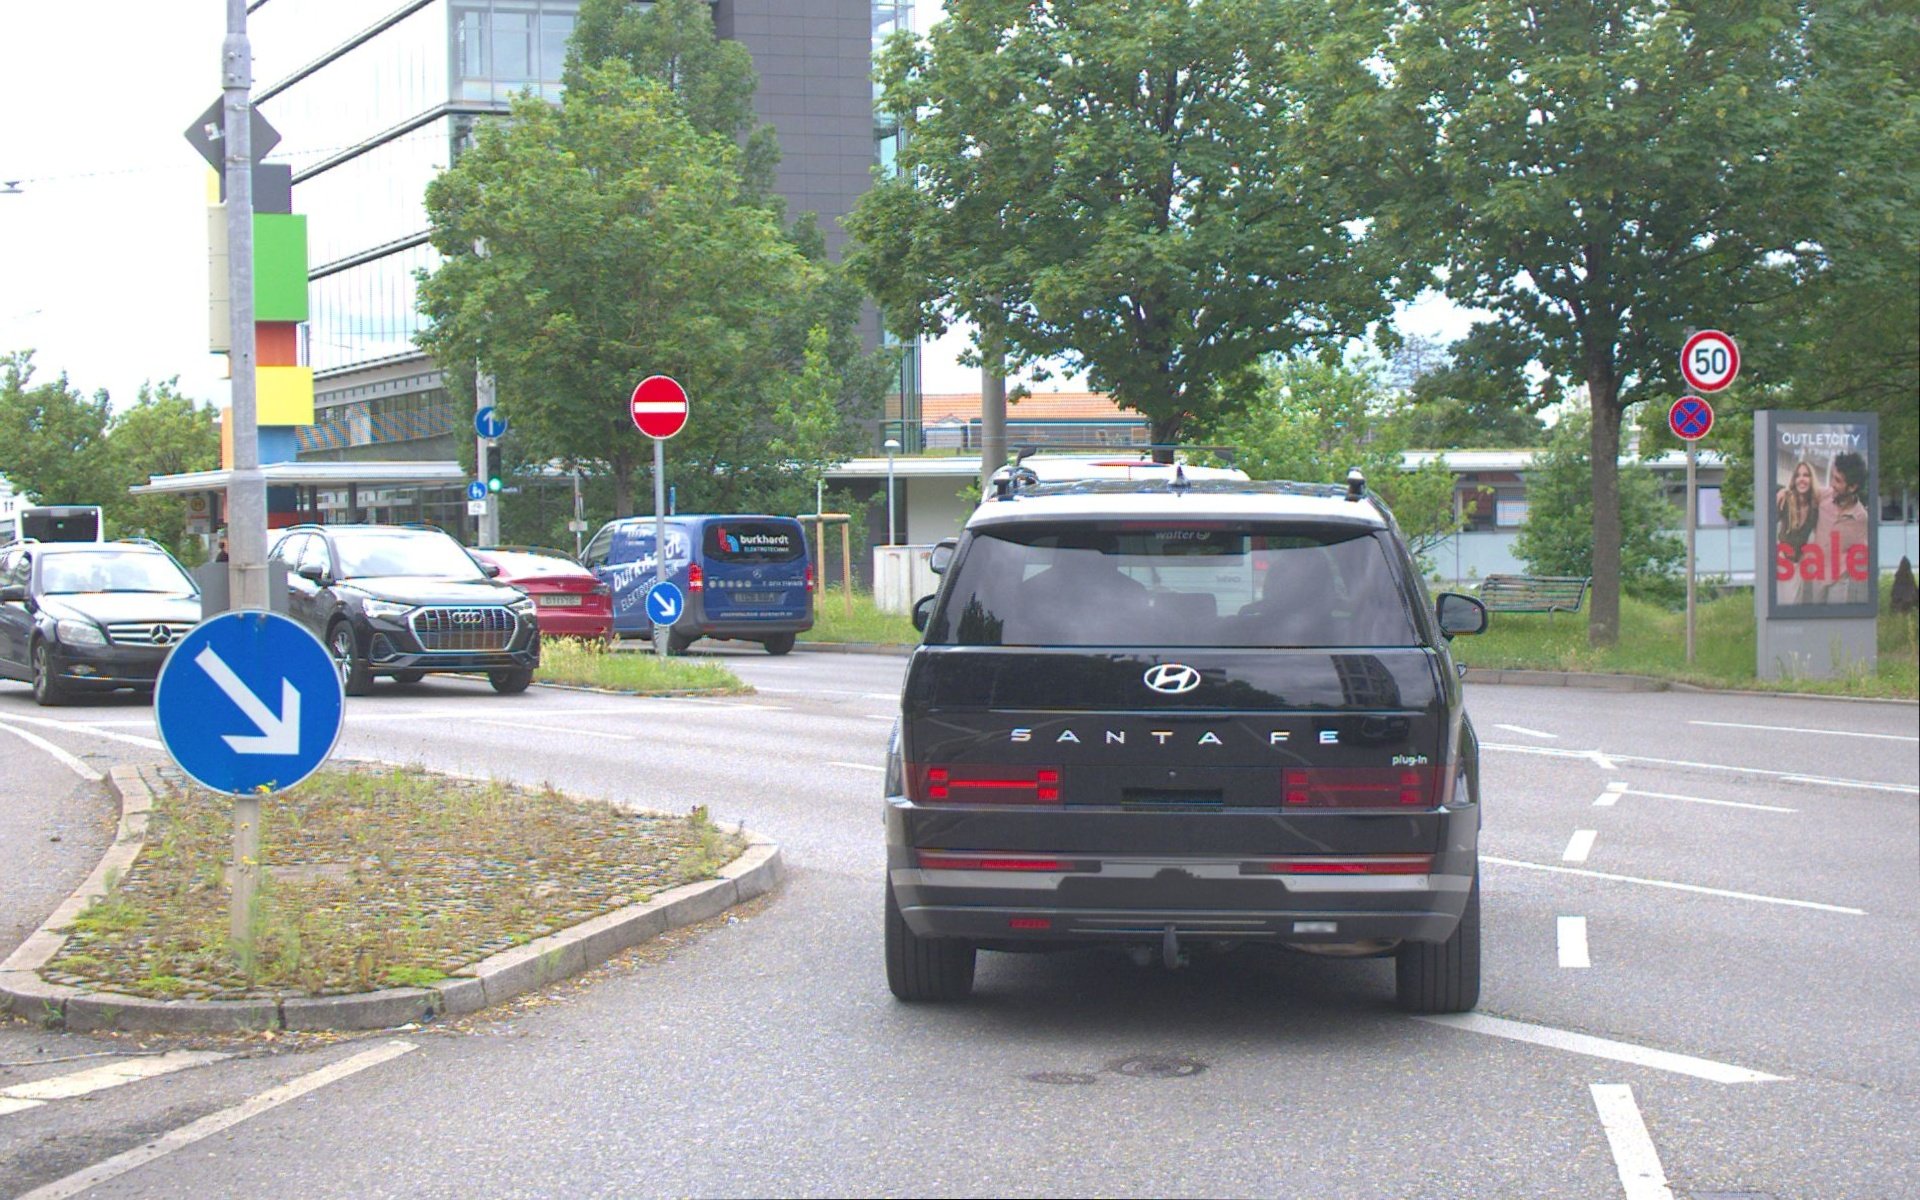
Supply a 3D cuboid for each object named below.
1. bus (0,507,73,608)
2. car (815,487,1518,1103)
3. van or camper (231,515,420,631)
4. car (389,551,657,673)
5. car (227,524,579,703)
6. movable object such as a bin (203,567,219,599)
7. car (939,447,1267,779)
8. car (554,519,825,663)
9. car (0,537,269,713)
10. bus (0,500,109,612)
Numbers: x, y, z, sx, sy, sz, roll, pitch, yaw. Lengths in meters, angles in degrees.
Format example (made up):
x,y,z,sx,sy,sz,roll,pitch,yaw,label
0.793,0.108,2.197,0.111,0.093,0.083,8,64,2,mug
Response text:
x,y,z,sx,sy,sz,roll,pitch,yaw,label
-30.977,-1.334,111.818,2.951,3.101,9.978,-2,1,-21,bus
0.931,0.519,12.086,1.903,1.725,4.444,1,1,11,car
-11.160,-0.506,60.259,1.993,1.911,4.409,-1,2,-28,van or camper
-5.570,0.120,43.343,1.873,1.413,4.443,0,1,-28,car
-5.436,0.078,33.094,1.888,1.559,4.396,0,2,-30,car
-21.200,-0.473,97.248,0.356,0.894,0.462,-1,0,-22,movable object such as a bin
0.843,0.043,22.926,1.902,1.962,4.636,1,1,-1,car
-3.750,-0.158,46.887,1.902,1.853,4.710,0,1,-29,car
-7.782,0.171,31.099,1.783,1.421,4.396,0,2,-28,car
-27.606,-1.281,102.919,2.965,3.106,9.246,-2,1,-21,bus
